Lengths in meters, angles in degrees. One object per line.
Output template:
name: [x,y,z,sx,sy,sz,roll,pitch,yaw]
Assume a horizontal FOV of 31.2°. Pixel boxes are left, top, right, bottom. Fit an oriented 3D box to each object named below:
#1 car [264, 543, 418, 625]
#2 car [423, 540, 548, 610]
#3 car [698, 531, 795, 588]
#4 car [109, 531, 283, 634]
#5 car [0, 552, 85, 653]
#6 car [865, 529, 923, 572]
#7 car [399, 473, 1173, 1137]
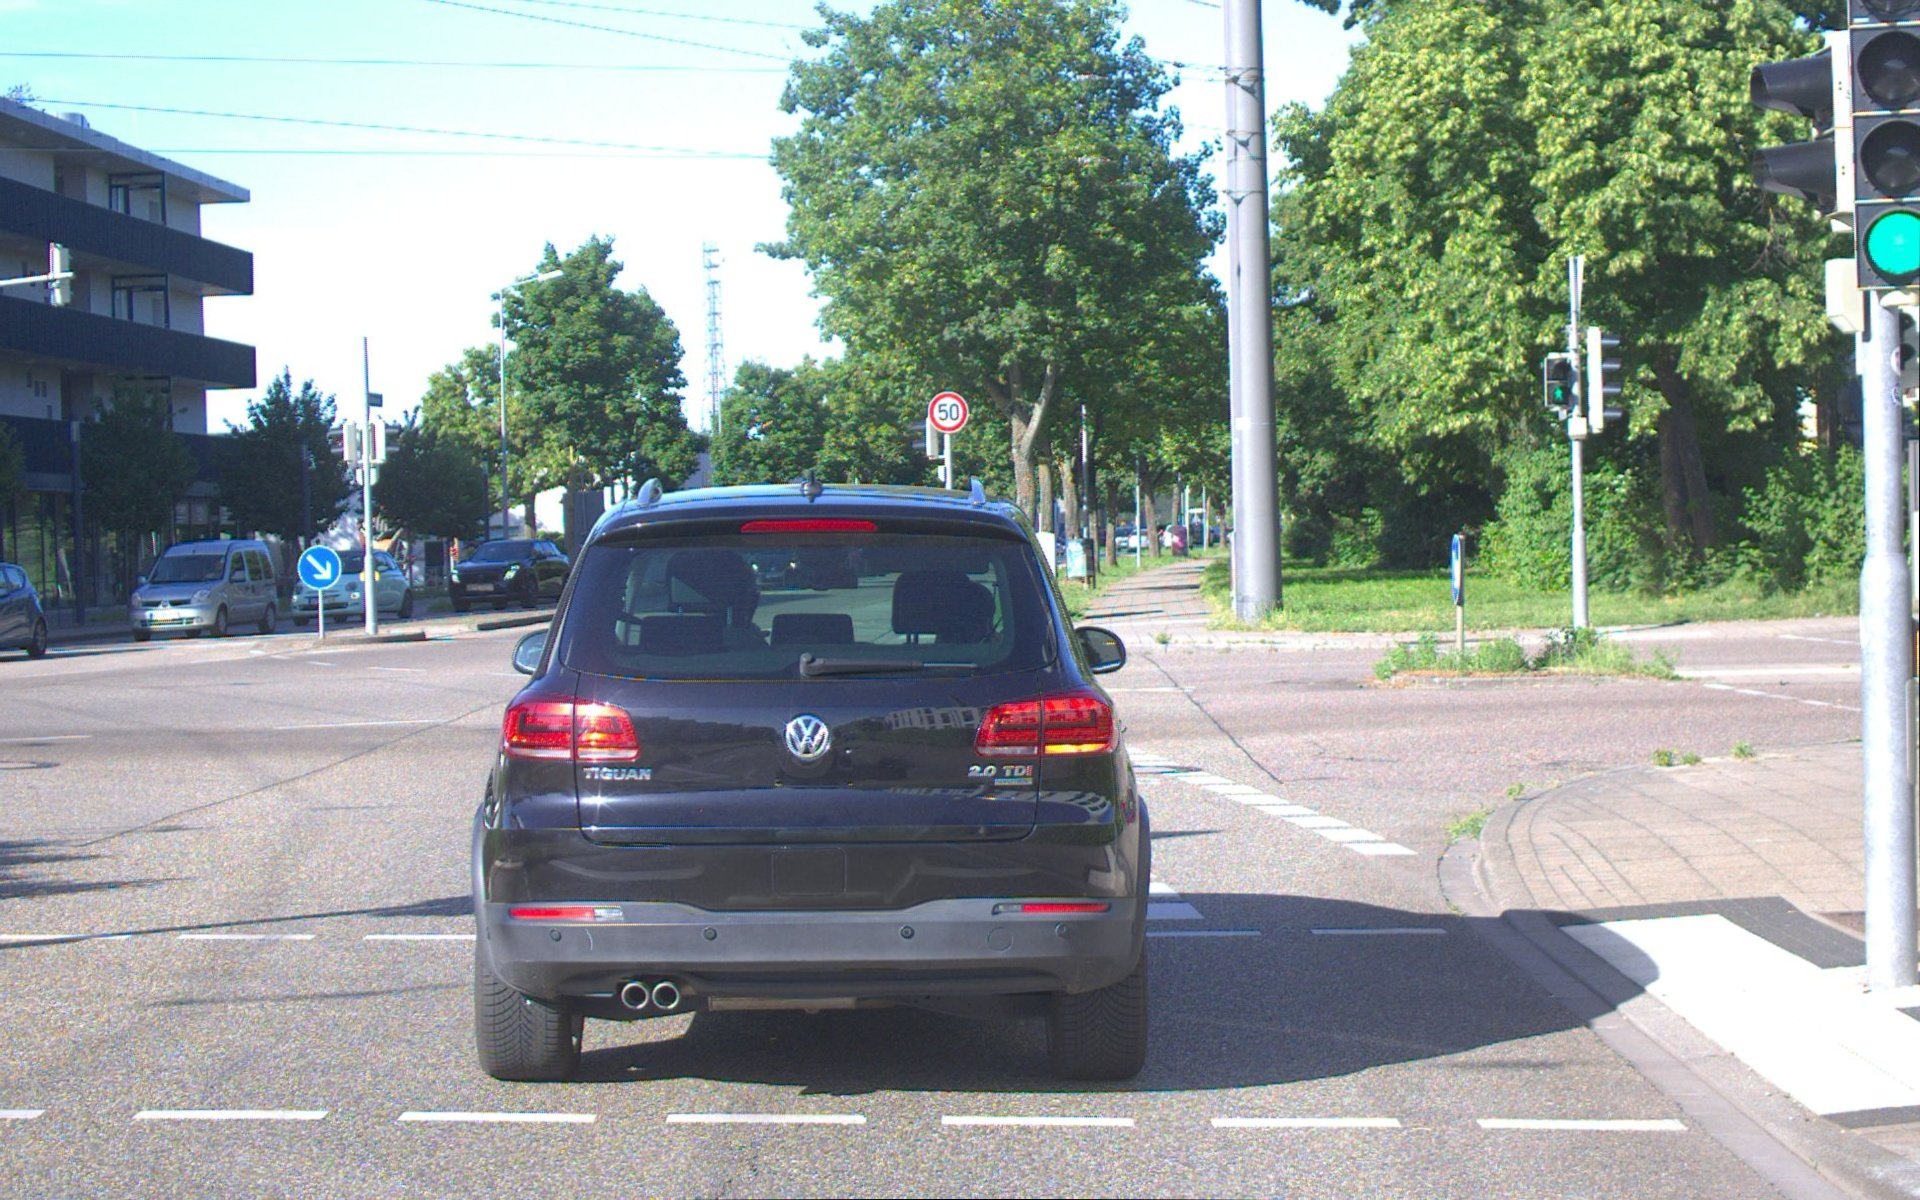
car: [-12.575,-0.342,70.041,1.994,1.482,3.543,-3,1,8]
car: [-11.068,-0.608,80.439,1.967,1.529,4.740,-2,1,3]
car: [-6.276,-1.213,101.454,1.994,1.566,3.999,-2,1,9]
car: [-13.743,-0.337,62.062,1.993,1.749,4.362,-1,1,2]
car: [-14.729,0.051,51.041,1.696,1.451,4.451,-2,1,9]
car: [-2.732,-2.080,143.401,1.994,1.731,5.199,-2,1,3]
car: [-0.418,0.477,10.878,1.929,1.649,4.514,0,1,1]
